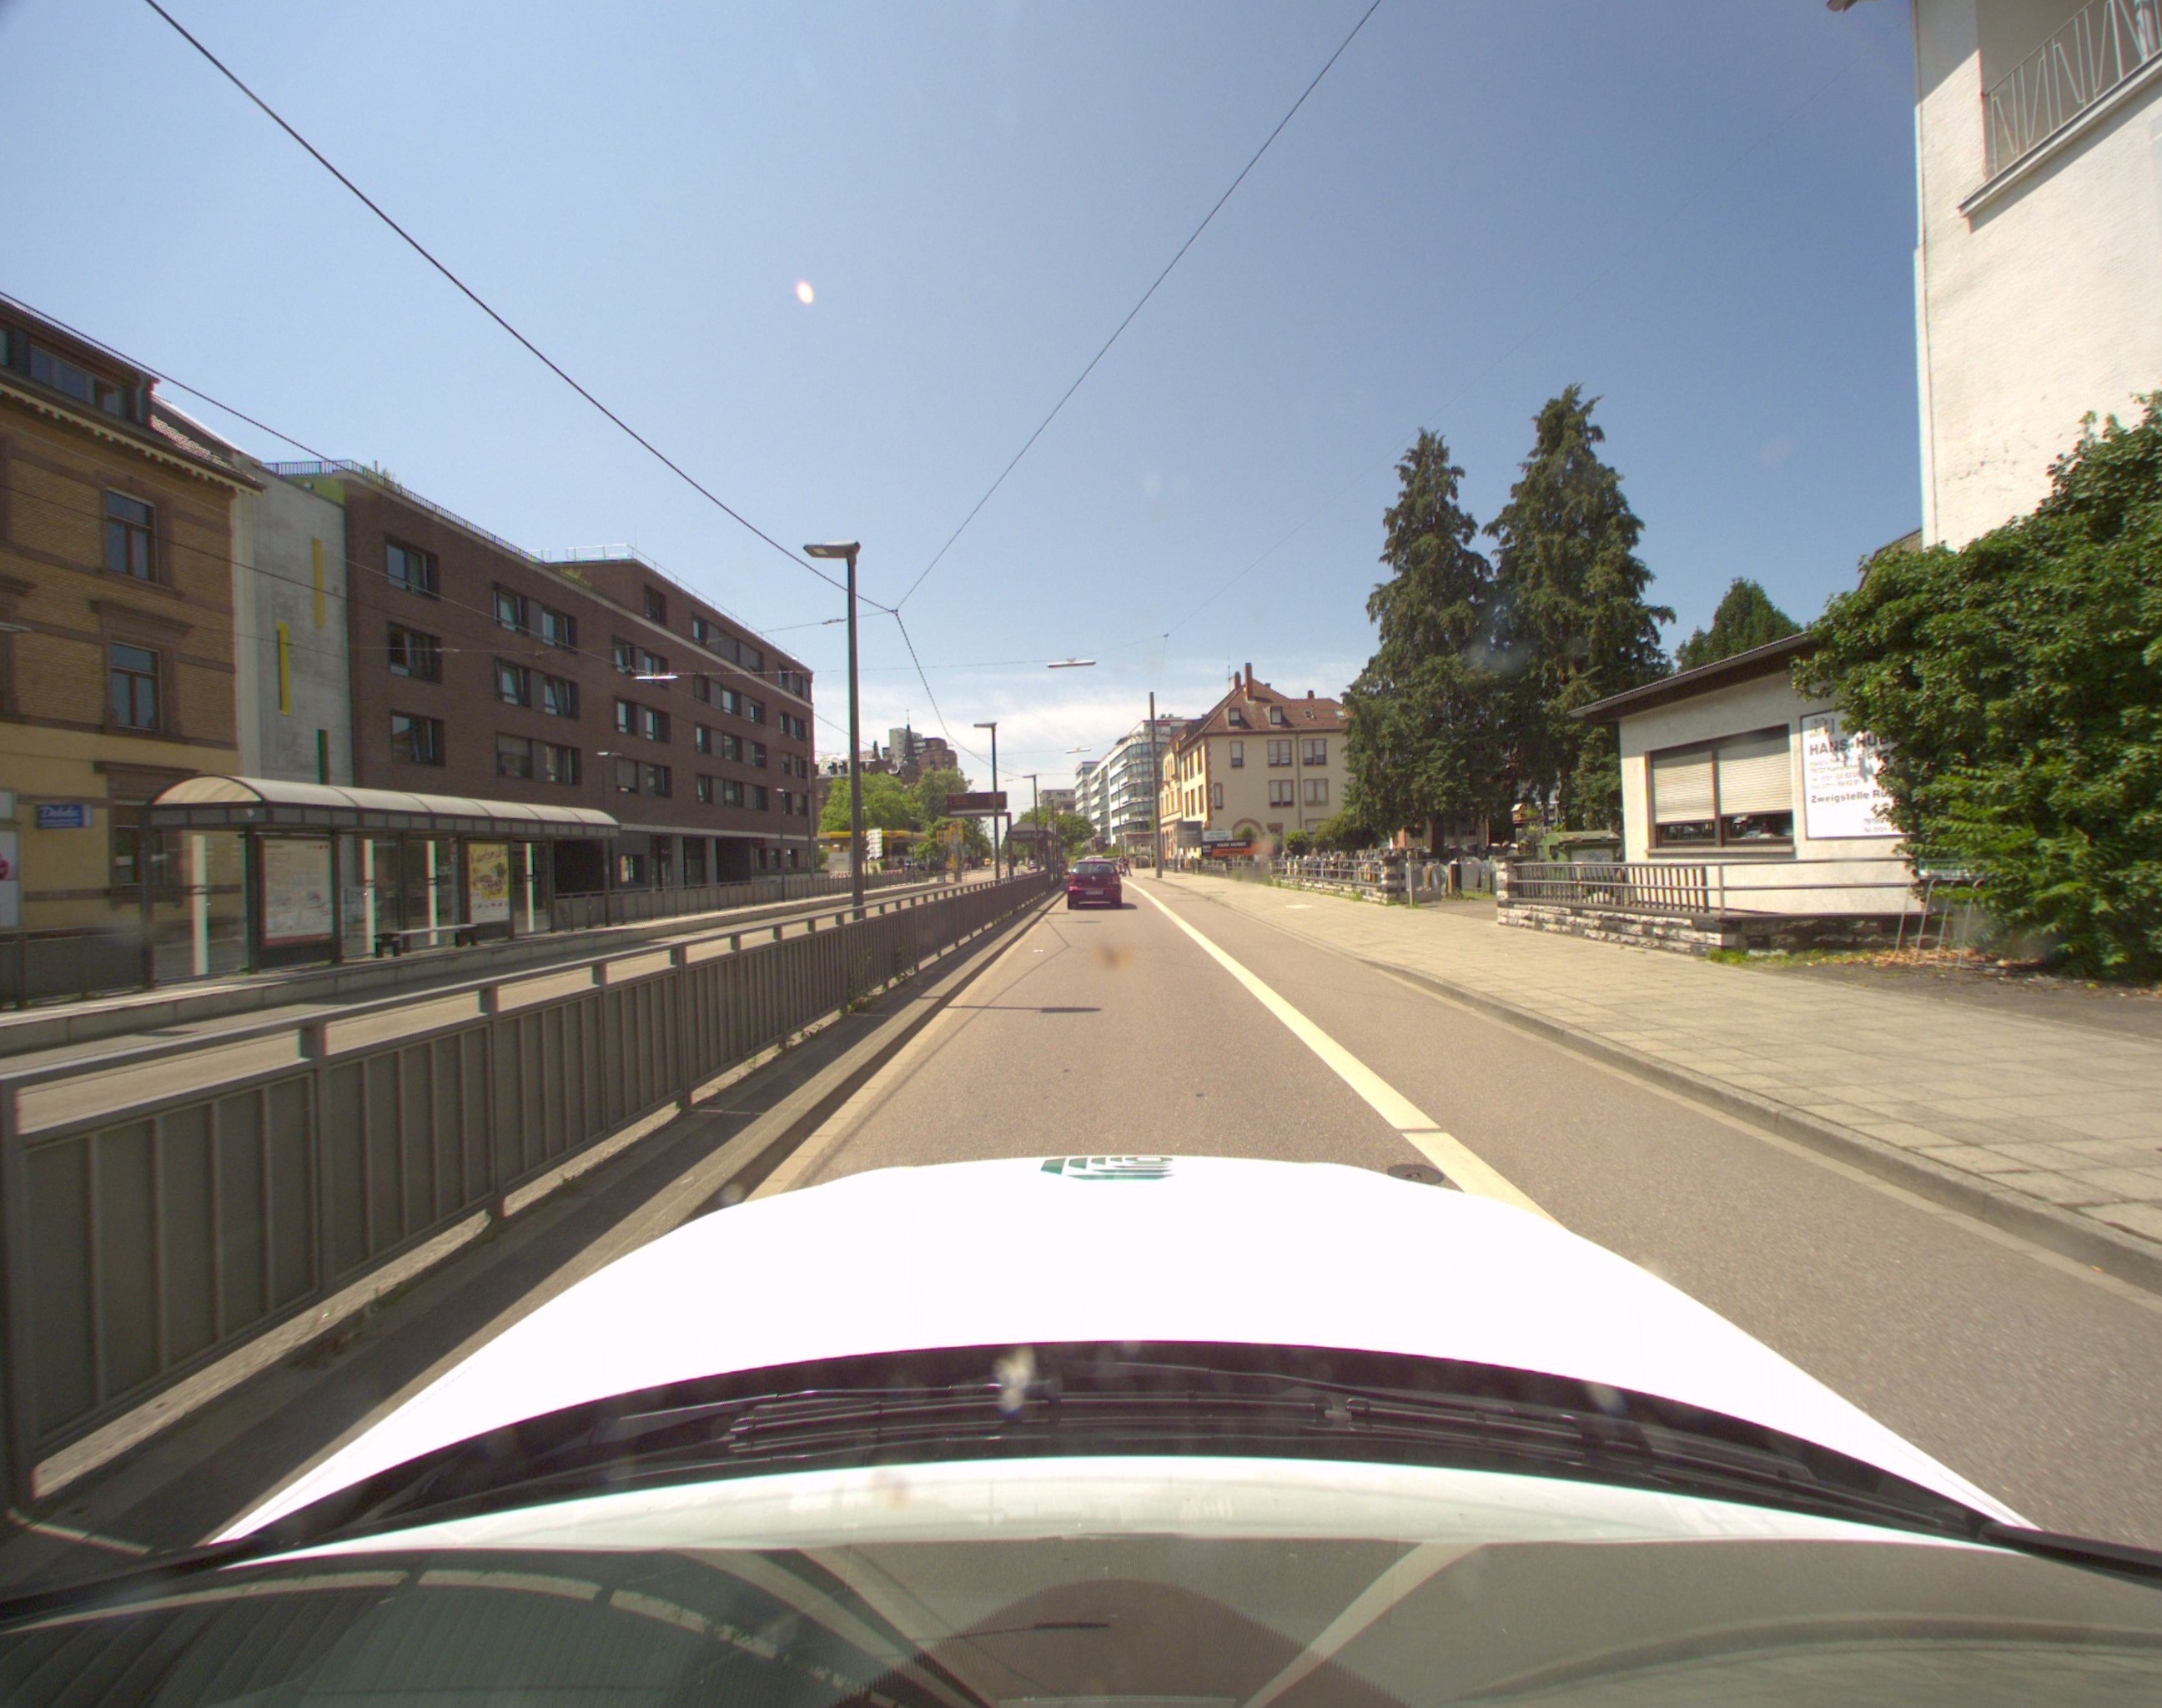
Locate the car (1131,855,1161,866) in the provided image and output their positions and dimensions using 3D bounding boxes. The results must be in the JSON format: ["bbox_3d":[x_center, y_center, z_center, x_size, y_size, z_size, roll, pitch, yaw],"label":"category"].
[{"bbox_3d":[9.726,0.953,122.073,4.139,1.459,1.816,-2,-1,-3],"label":"car"}]

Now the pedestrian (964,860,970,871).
[{"bbox_3d":[-17.956,1.800,128.385,0.630,1.691,0.713,-1,-1,-44],"label":"pedestrian"}]

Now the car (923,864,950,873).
[{"bbox_3d":[-24.672,2.421,139.135,1.910,1.488,4.479,-1,-1,33],"label":"car"}]

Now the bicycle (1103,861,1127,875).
[{"bbox_3d":[2.814,1.133,67.204,1.786,1.127,0.593,-2,-1,22],"label":"bicycle"}]

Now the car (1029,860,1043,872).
[{"bbox_3d":[-7.341,1.969,132.908,1.991,1.739,3.992,-2,0,-6],"label":"car"}]

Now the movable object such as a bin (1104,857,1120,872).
[{"bbox_3d":[3.286,1.118,86.846,1.392,1.455,1.135,-4,0,-10],"label":"movable object such as a bin"}]

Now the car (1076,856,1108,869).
[{"bbox_3d":[1.658,1.206,120.162,4.532,1.799,1.996,-1,-1,-6],"label":"car"}]

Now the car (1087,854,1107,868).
[{"bbox_3d":[1.895,0.868,98.037,1.770,1.548,4.458,-4,-1,-6],"label":"car"}]

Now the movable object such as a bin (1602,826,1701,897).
[{"bbox_3d":[12.550,0.162,17.968,1.380,1.481,1.153,-2,-1,5],"label":"movable object such as a bin"}]

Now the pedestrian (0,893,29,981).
[{"bbox_3d":[-20.122,1.534,14.970,0.601,1.596,0.715,-2,-1,-1],"label":"pedestrian"}]

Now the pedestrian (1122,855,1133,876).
[{"bbox_3d":[3.747,0.941,65.731,0.819,1.691,0.590,-2,-1,9],"label":"pedestrian"}]

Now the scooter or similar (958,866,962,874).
[{"bbox_3d":[-16.799,2.222,113.225,0.518,1.200,1.372,0,-1,-9],"label":"scooter or similar"}]

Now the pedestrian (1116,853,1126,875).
[{"bbox_3d":[3.319,0.814,67.523,0.681,1.772,0.506,-2,-1,23],"label":"pedestrian"}]

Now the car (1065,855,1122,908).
[{"bbox_3d":[0.431,0.792,25.172,1.613,1.486,4.001,0,-1,2],"label":"car"}]

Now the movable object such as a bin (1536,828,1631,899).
[{"bbox_3d":[11.093,0.204,18.031,1.382,1.481,1.152,-2,-1,2],"label":"movable object such as a bin"}]

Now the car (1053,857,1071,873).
[{"bbox_3d":[-2.417,1.415,103.241,1.992,2.014,3.990,0,-1,-7],"label":"car"}]
